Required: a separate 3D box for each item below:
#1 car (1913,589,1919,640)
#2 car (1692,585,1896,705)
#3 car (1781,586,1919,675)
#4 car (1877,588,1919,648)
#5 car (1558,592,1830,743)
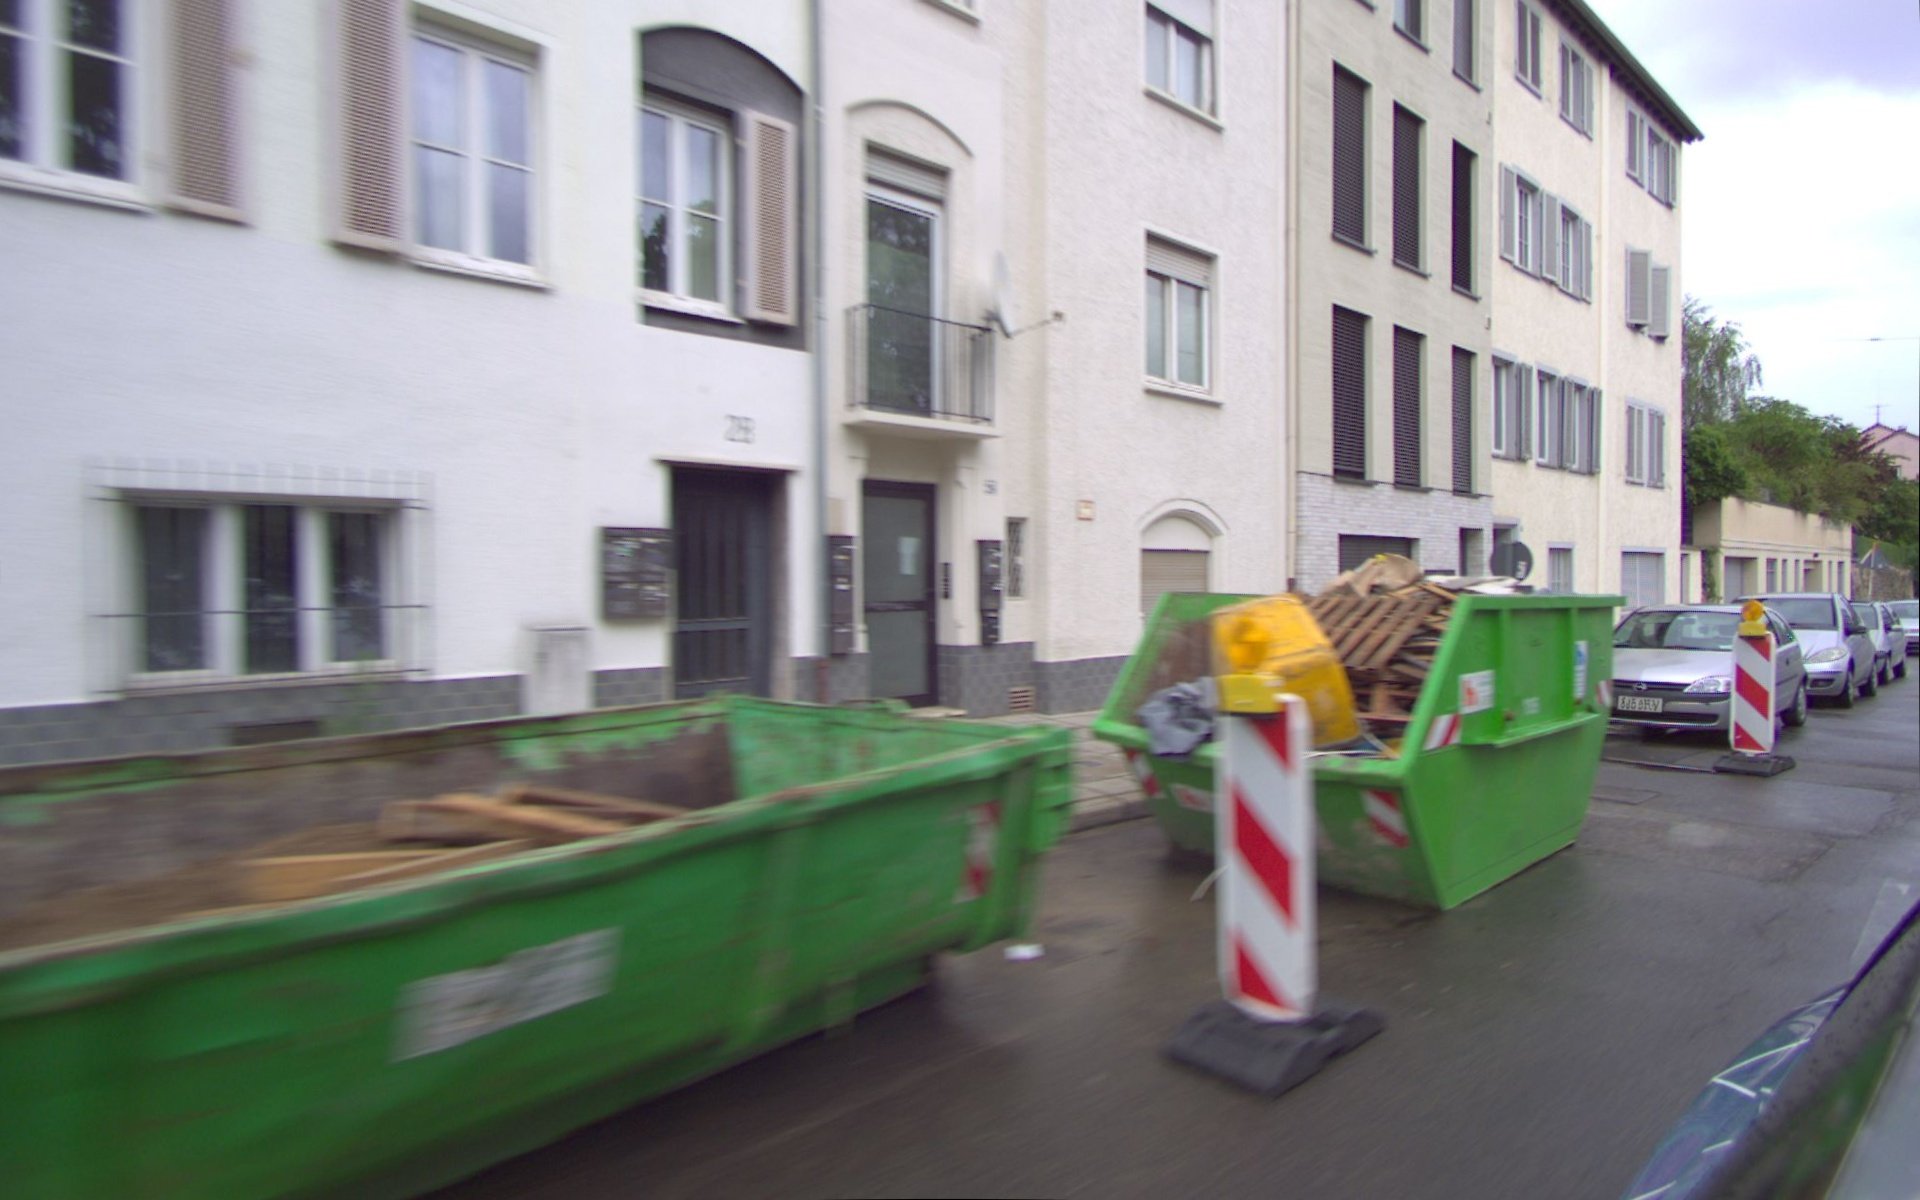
[{"bbox_3d":[29.793,0.415,30.177,3.694,1.472,1.631,0,-1,-41],"label":"car"},{"bbox_3d":[12.438,0.602,15.015,3.930,1.544,1.718,0,-1,-41],"label":"car"},{"bbox_3d":[16.475,0.527,18.591,3.694,1.472,1.561,0,-1,-42],"label":"car"},{"bbox_3d":[25.193,0.453,26.278,3.694,1.472,1.631,0,-1,-41],"label":"car"},{"bbox_3d":[8.367,0.657,11.424,3.774,1.429,1.629,0,-1,-40],"label":"car"}]
